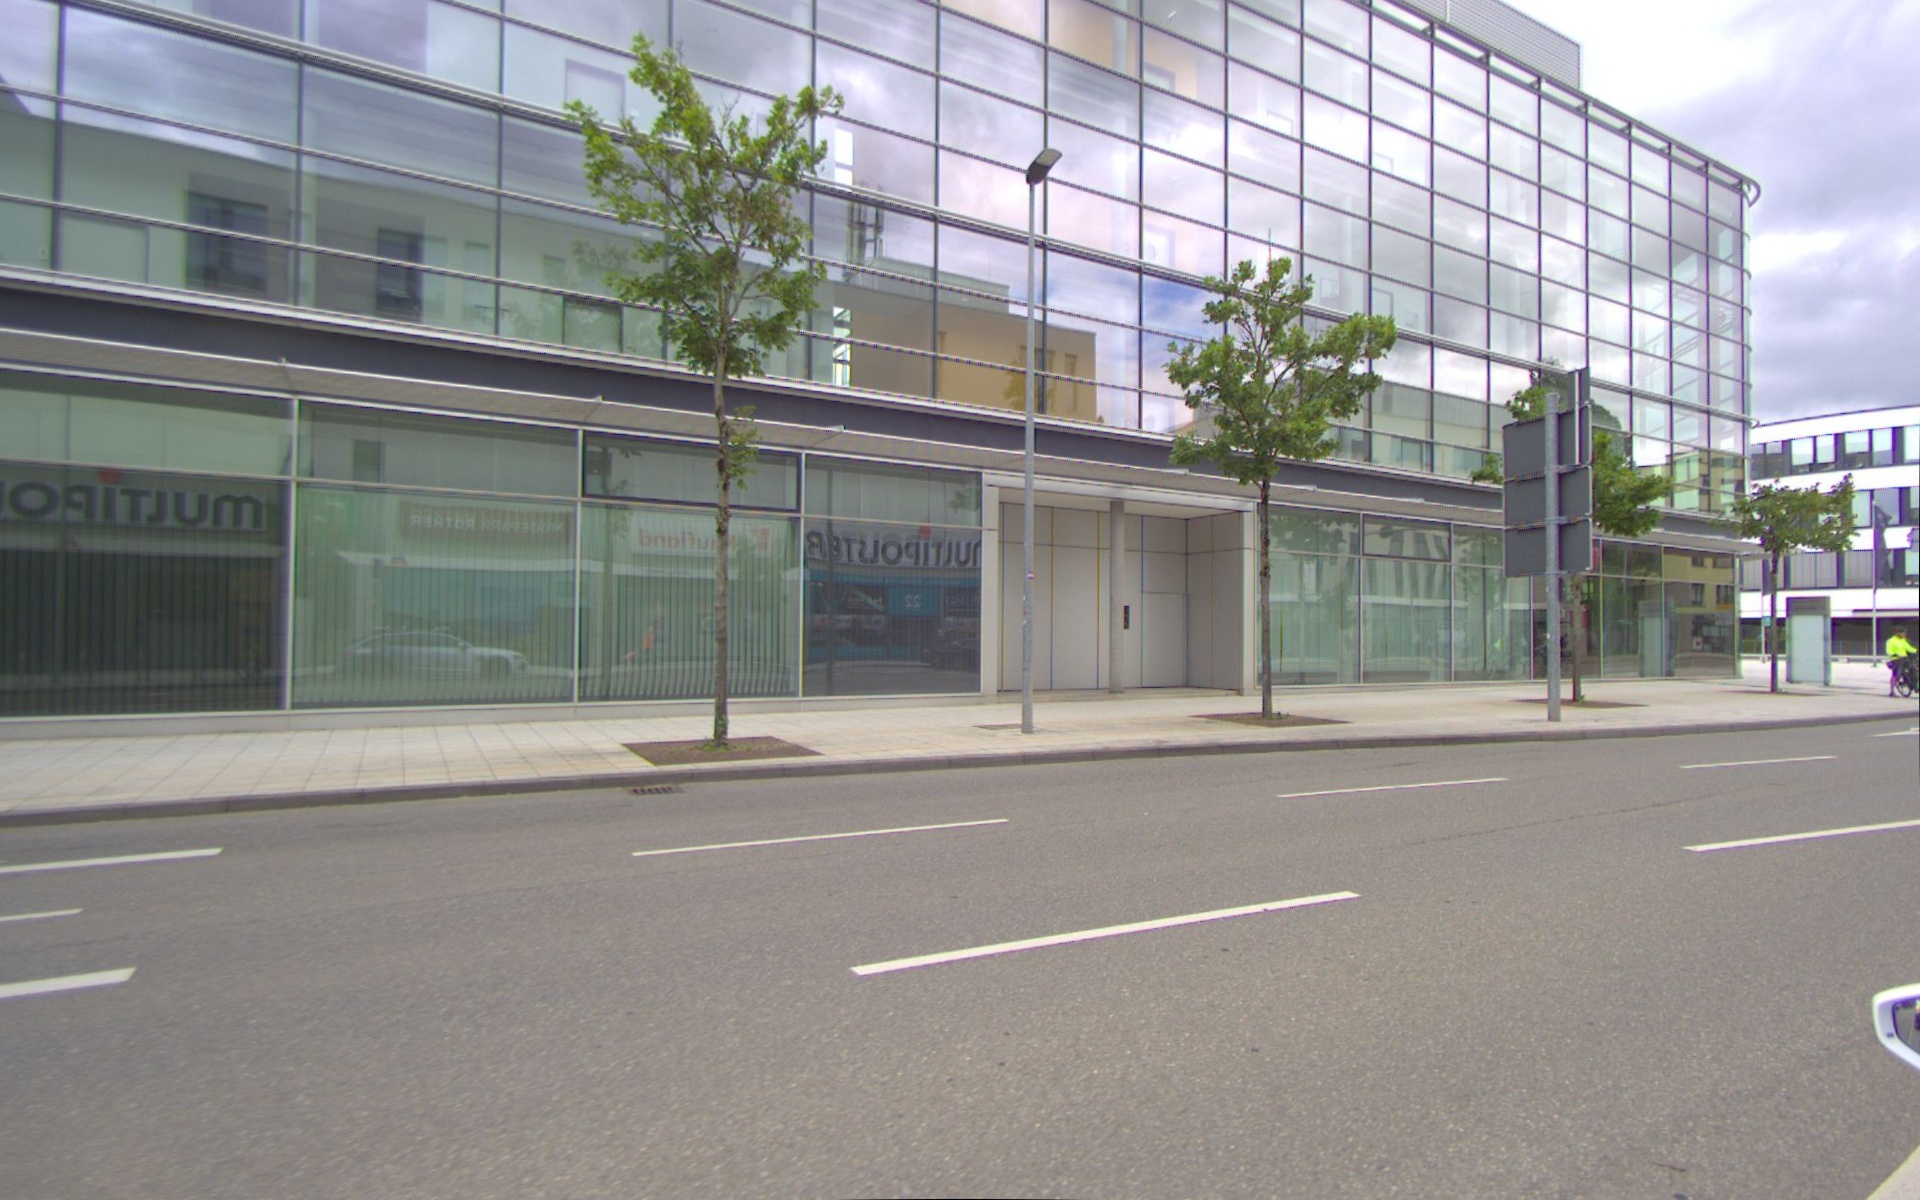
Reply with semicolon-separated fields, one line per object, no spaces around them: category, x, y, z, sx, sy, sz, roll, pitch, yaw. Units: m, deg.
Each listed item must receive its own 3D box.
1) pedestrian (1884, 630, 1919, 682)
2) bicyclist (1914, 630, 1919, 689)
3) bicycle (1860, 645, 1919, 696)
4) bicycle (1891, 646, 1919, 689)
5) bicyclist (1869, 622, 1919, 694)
pedestrian;36.613;2.163;38.969;0.885;1.971;0.750;1;-1;22
bicyclist;27.469;1.689;28.161;0.627;1.671;0.782;2;1;-15
bicycle;24.953;1.852;26.623;0.732;1.222;2.032;2;1;14
bicycle;27.452;1.939;28.127;0.627;1.145;2.000;2;1;-14
bicyclist;24.834;1.524;26.652;0.732;1.824;0.774;2;1;14
